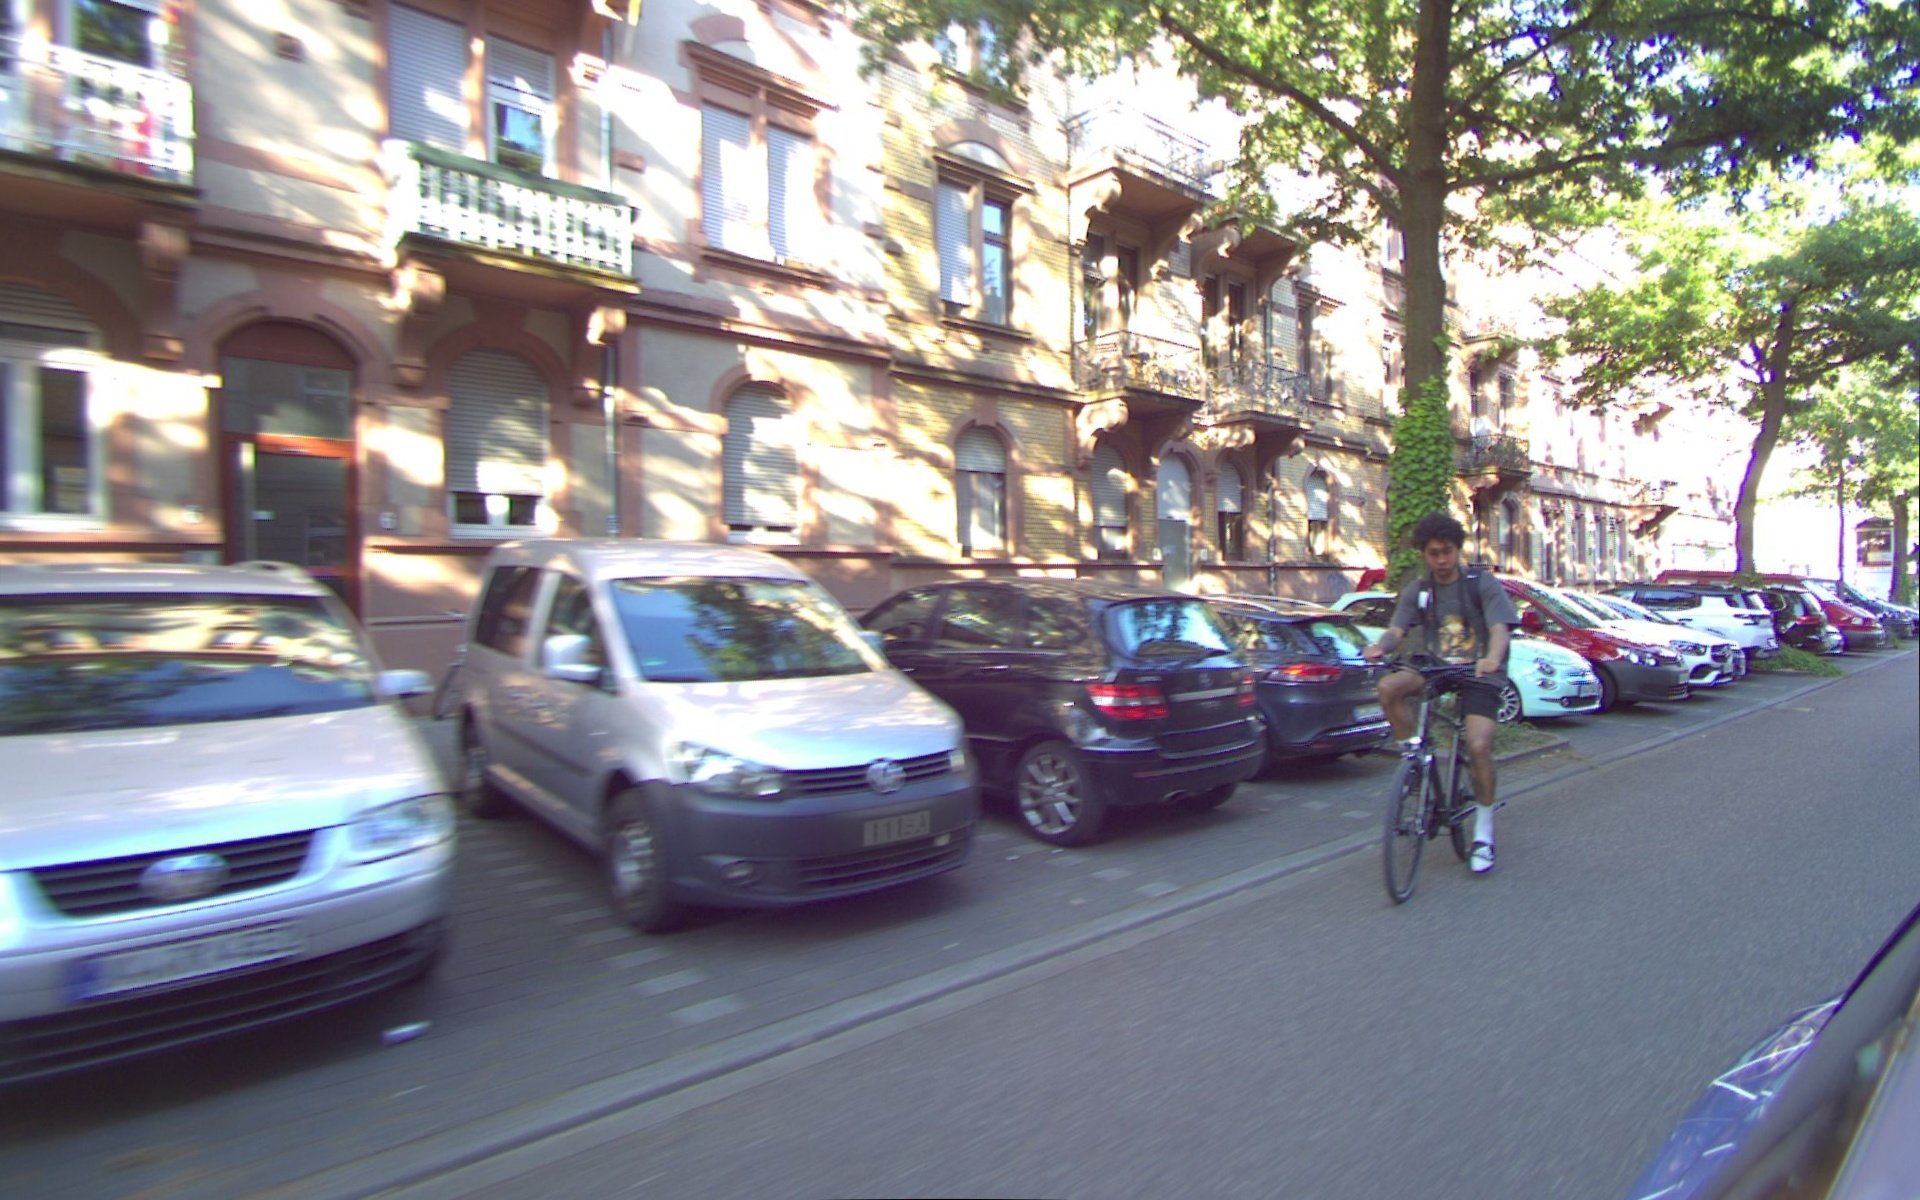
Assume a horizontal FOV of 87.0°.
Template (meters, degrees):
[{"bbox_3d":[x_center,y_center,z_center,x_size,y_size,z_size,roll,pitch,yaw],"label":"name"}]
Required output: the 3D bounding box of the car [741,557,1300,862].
[{"bbox_3d":[0.177,0.524,7.677,1.709,1.607,4.239,0,3,-42],"label":"car"}]

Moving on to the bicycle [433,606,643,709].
[{"bbox_3d":[-4.397,0.567,10.665,1.990,0.974,0.469,-1,-1,-41],"label":"bicycle"}]

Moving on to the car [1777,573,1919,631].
[{"bbox_3d":[28.490,0.047,31.794,1.749,1.548,4.057,-1,5,-40],"label":"car"}]

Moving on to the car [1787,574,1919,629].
[{"bbox_3d":[30.009,0.024,33.275,1.749,1.548,4.057,-1,5,-40],"label":"car"}]

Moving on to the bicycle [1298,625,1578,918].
[{"bbox_3d":[2.658,0.807,5.528,1.855,1.276,0.711,-1,0,-41],"label":"bicycle"}]

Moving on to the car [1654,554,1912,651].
[{"bbox_3d":[20.621,-0.032,25.549,1.892,2.001,4.700,-1,5,-40],"label":"car"}]

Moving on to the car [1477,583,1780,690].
[{"bbox_3d":[11.506,0.532,17.663,1.749,1.499,4.057,0,3,-39],"label":"car"}]

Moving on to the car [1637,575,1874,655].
[{"bbox_3d":[18.619,0.277,23.839,1.749,1.473,4.057,-1,5,-40],"label":"car"}]

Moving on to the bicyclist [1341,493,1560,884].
[{"bbox_3d":[2.702,0.423,5.549,1.101,1.899,0.711,0,0,-41],"label":"bicyclist"}]

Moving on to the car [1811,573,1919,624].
[{"bbox_3d":[31.955,-0.038,34.621,1.749,1.548,4.057,-1,5,-40],"label":"car"}]

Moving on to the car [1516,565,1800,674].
[{"bbox_3d":[13.123,0.266,19.235,1.749,1.641,4.058,-1,5,-40],"label":"car"}]

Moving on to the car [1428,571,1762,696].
[{"bbox_3d":[9.749,0.406,15.818,1.749,1.599,4.057,0,3,-39],"label":"car"}]

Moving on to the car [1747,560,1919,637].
[{"bbox_3d":[26.218,-0.113,30.097,1.749,1.956,4.057,-1,5,-40],"label":"car"}]

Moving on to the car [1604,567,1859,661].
[{"bbox_3d":[16.710,0.216,22.088,1.749,1.641,4.058,-1,5,-40],"label":"car"}]

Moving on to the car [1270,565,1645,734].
[{"bbox_3d":[6.076,0.467,12.736,1.707,1.703,3.844,0,3,-39],"label":"car"}]

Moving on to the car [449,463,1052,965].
[{"bbox_3d":[-1.582,0.469,6.066,1.751,1.910,4.239,-1,-1,-39],"label":"car"}]

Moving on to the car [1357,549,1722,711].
[{"bbox_3d":[7.961,0.277,14.235,1.749,1.910,4.057,0,3,-39],"label":"car"}]

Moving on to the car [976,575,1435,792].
[{"bbox_3d":[2.084,0.570,9.404,1.709,1.478,3.840,-1,3,-42],"label":"car"}]

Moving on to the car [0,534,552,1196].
[{"bbox_3d":[-3.492,0.591,4.309,1.871,1.623,4.237,0,2,-43],"label":"car"}]
